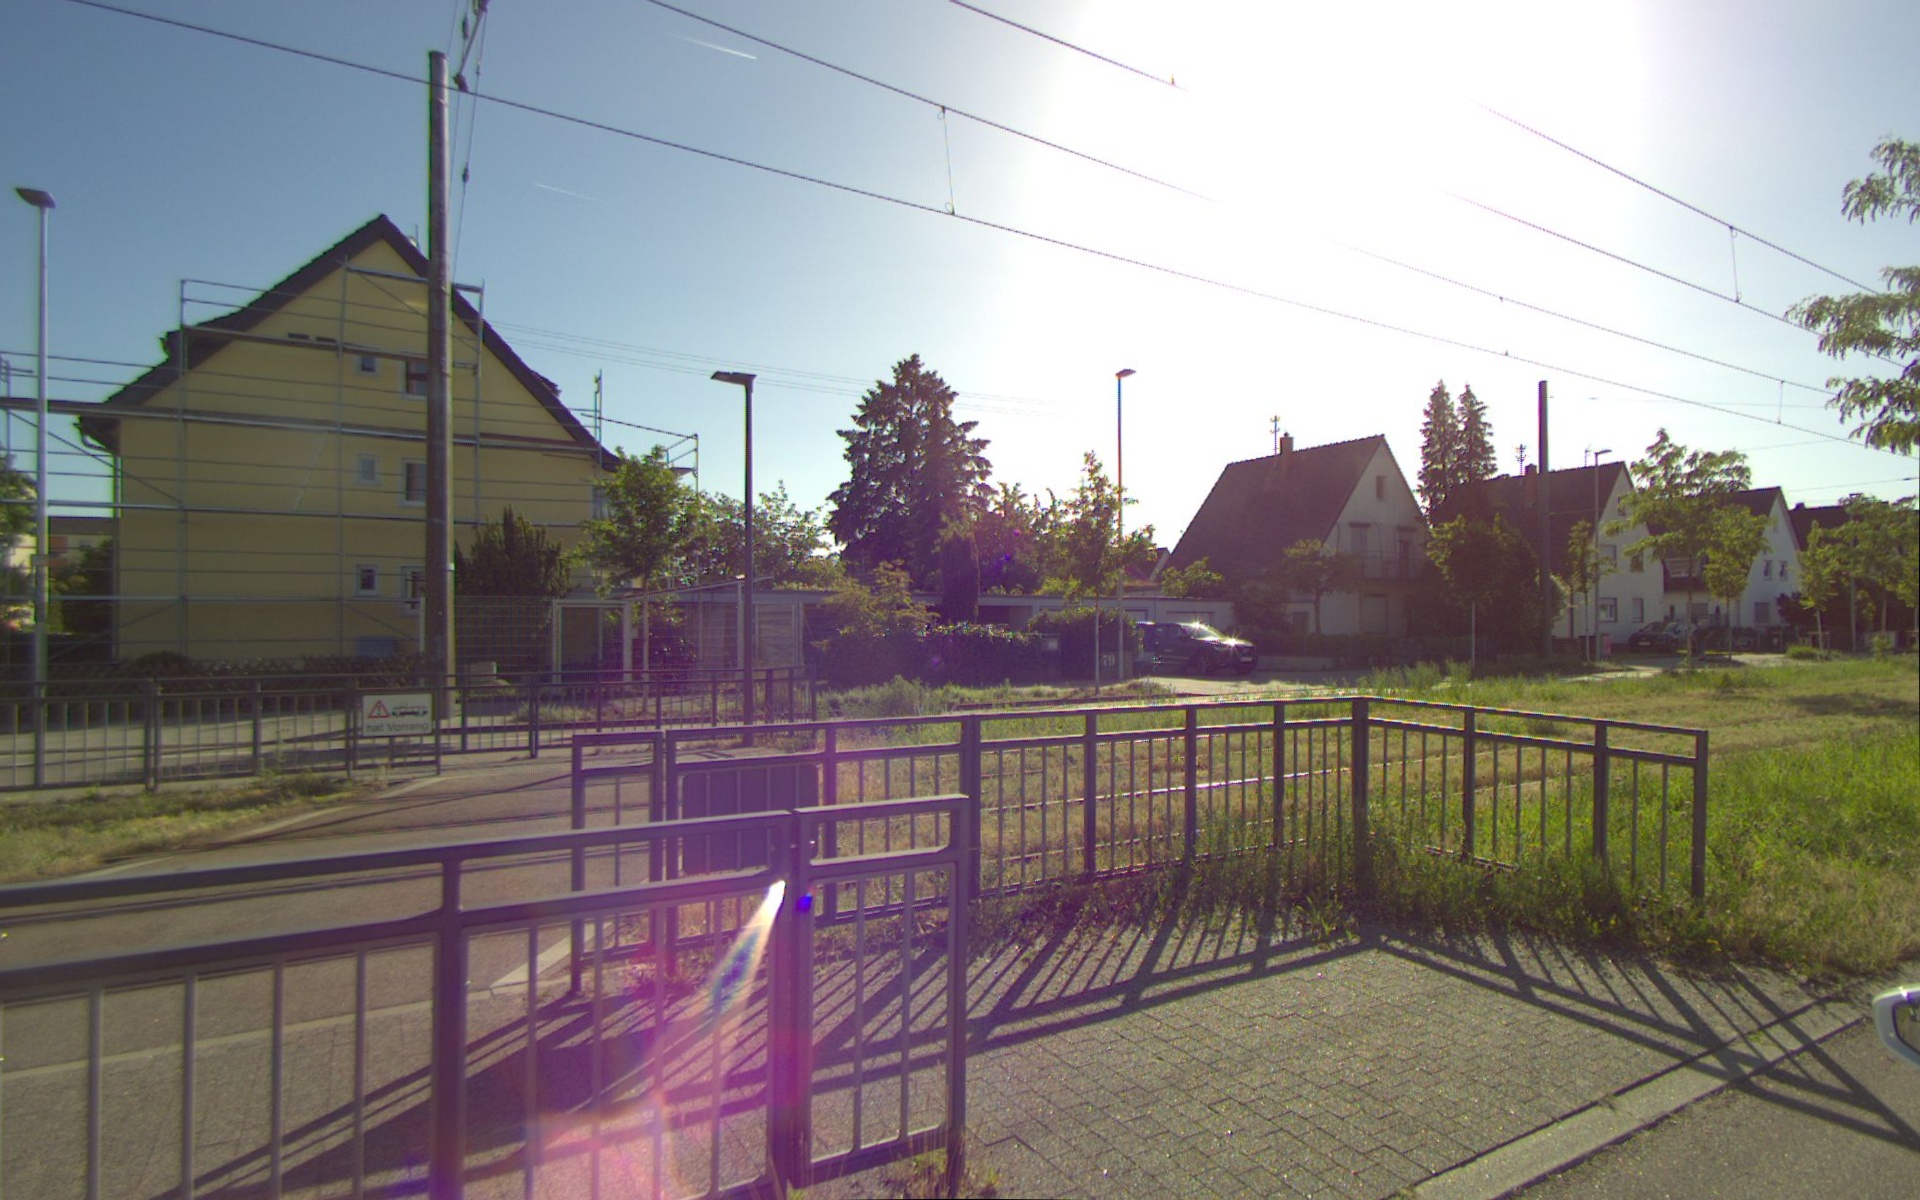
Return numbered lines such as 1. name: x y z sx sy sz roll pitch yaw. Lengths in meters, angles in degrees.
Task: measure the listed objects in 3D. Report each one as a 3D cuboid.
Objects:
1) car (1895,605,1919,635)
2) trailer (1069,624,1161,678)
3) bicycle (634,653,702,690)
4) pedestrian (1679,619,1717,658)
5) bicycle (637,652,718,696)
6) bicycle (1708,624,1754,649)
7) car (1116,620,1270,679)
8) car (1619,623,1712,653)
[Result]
1. car: 66.190 1.384 68.003 1.915 1.996 3.957 1 0 -37
2. trailer: 4.973 1.610 32.440 1.383 1.669 2.897 1 -2 -32
3. bicycle: -6.838 1.675 23.582 1.491 0.832 0.309 1 0 -31
4. pedestrian: 31.786 1.666 43.285 1.073 1.662 0.960 1 -1 -30
5. bicycle: -6.453 1.673 23.002 1.728 0.954 0.421 1 0 -31
6. bicycle: 44.744 2.104 58.291 0.698 1.383 1.975 1 -2 -36
7. car: 7.425 1.552 32.314 2.037 1.757 4.500 1 -2 -41
8. car: 35.727 1.911 50.831 5.103 1.469 1.925 1 -2 -31
